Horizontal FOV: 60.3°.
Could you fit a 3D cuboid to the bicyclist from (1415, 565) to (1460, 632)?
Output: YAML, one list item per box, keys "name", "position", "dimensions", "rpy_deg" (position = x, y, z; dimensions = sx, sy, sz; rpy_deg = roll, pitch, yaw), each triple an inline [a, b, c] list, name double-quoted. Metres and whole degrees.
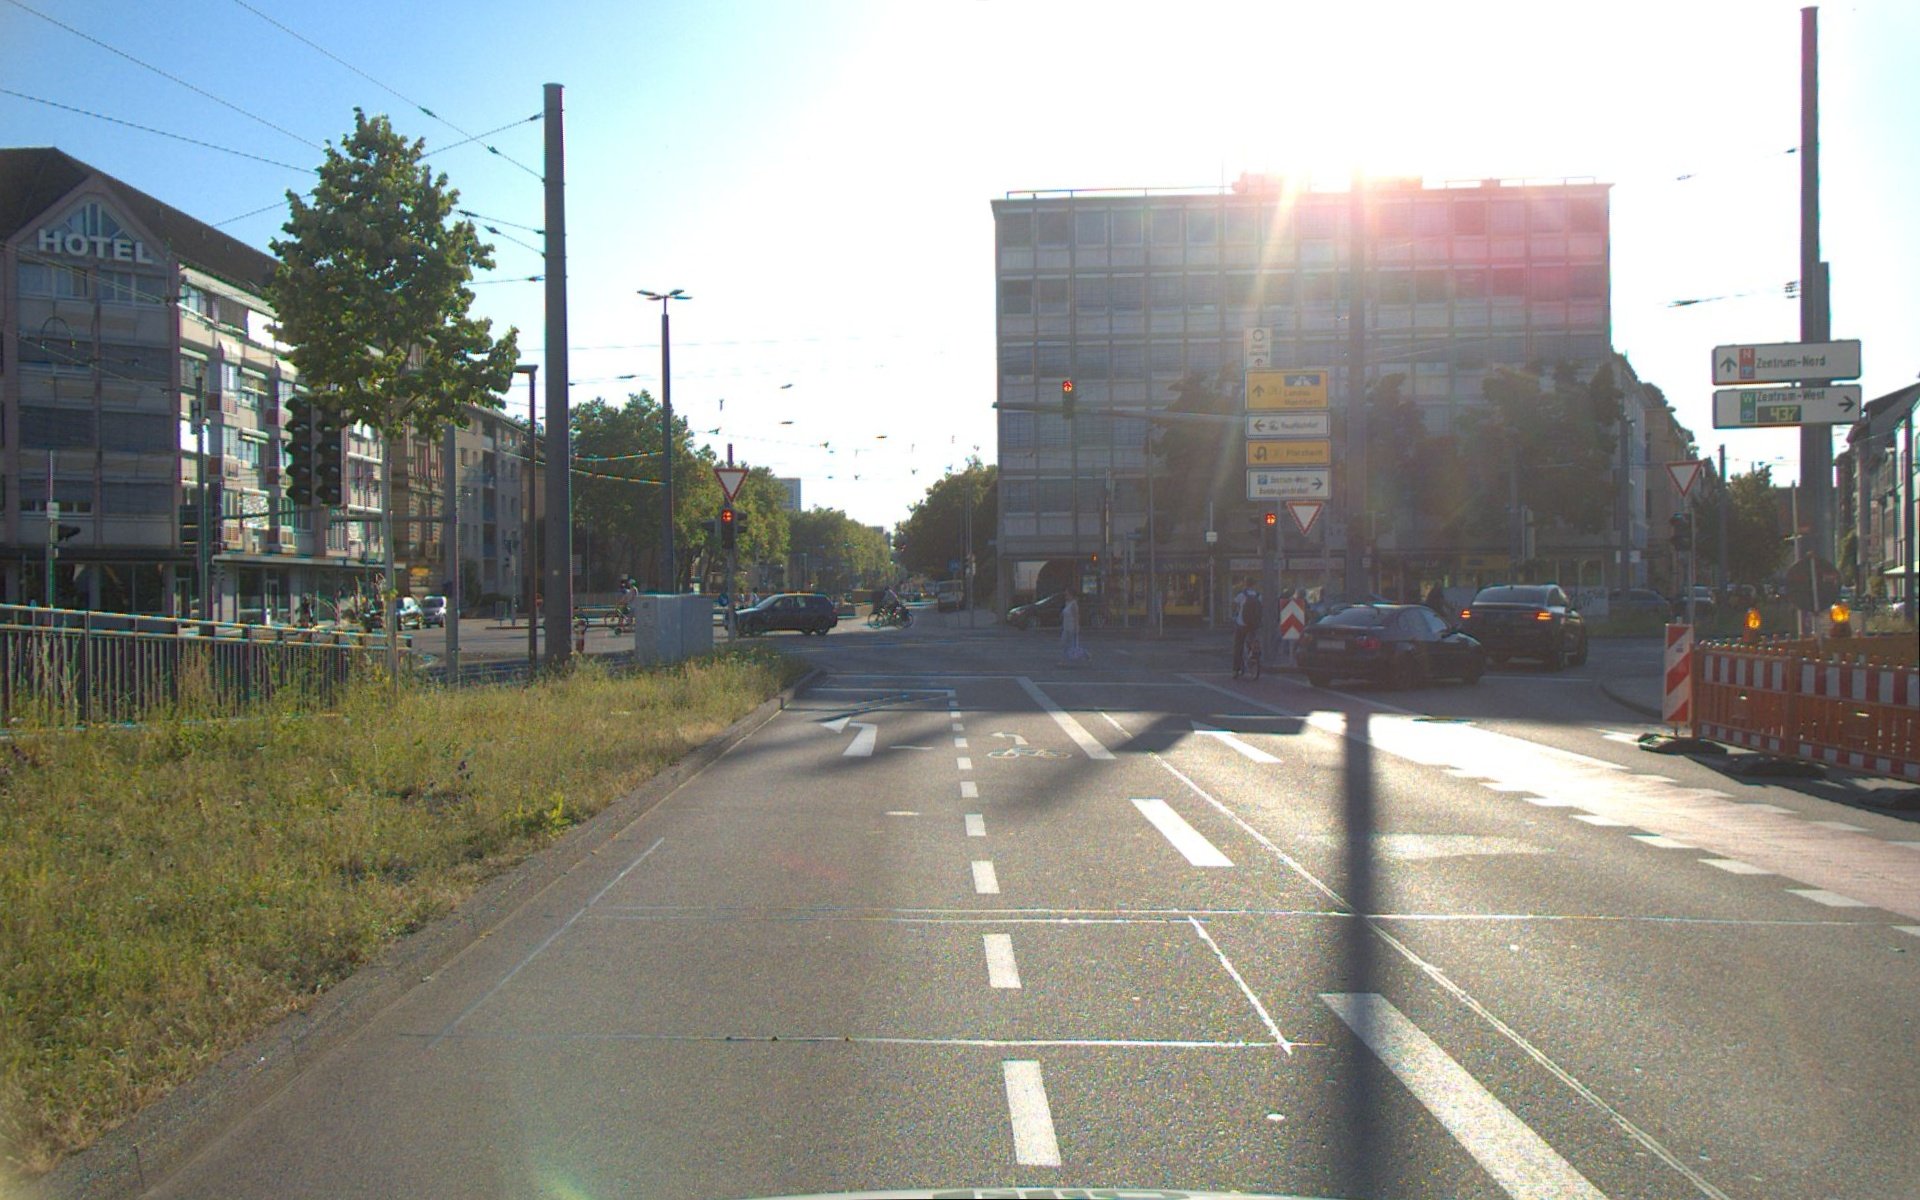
- name: "bicyclist"
  position: [12.195, -0.036, 42.265]
  dimensions: [0.939, 1.690, 0.691]
  rpy_deg: [0, 0, 2]

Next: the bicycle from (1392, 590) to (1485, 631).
- name: "bicycle"
  position: [12.201, 0.265, 42.251]
  dimensions: [2.180, 1.044, 0.682]
  rpy_deg: [0, 0, 2]

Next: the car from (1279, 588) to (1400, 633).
- name: "car"
  position: [14.581, 0.391, 63.680]
  dimensions: [4.241, 1.624, 2.001]
  rpy_deg: [-1, 0, 3]

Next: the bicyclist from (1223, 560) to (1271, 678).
- name: "bicyclist"
  position: [5.113, 0.328, 29.520]
  dimensions: [0.630, 2.048, 1.067]
  rpy_deg: [1, 2, -1]

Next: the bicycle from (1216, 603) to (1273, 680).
- name: "bicycle"
  position: [5.092, 0.720, 29.689]
  dimensions: [0.631, 1.244, 2.048]
  rpy_deg: [1, 2, 0]

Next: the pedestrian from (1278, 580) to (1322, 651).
- name: "pedestrian"
  position: [7.915, 0.356, 38.523]
  dimensions: [0.861, 1.625, 0.655]
  rpy_deg: [-1, 0, -4]

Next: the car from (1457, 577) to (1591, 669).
- name: "car"
  position: [11.684, 0.417, 34.118]
  dimensions: [1.956, 1.723, 3.994]
  rpy_deg: [1, 2, 28]

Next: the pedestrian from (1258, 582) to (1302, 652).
- name: "pedestrian"
  position: [7.593, 0.396, 39.278]
  dimensions: [0.861, 1.625, 0.655]
  rpy_deg: [-1, 0, -4]

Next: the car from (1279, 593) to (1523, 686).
- name: "car"
  position: [7.450, 0.619, 27.871]
  dimensions: [3.946, 1.451, 1.731]
  rpy_deg: [-1, 0, -31]
